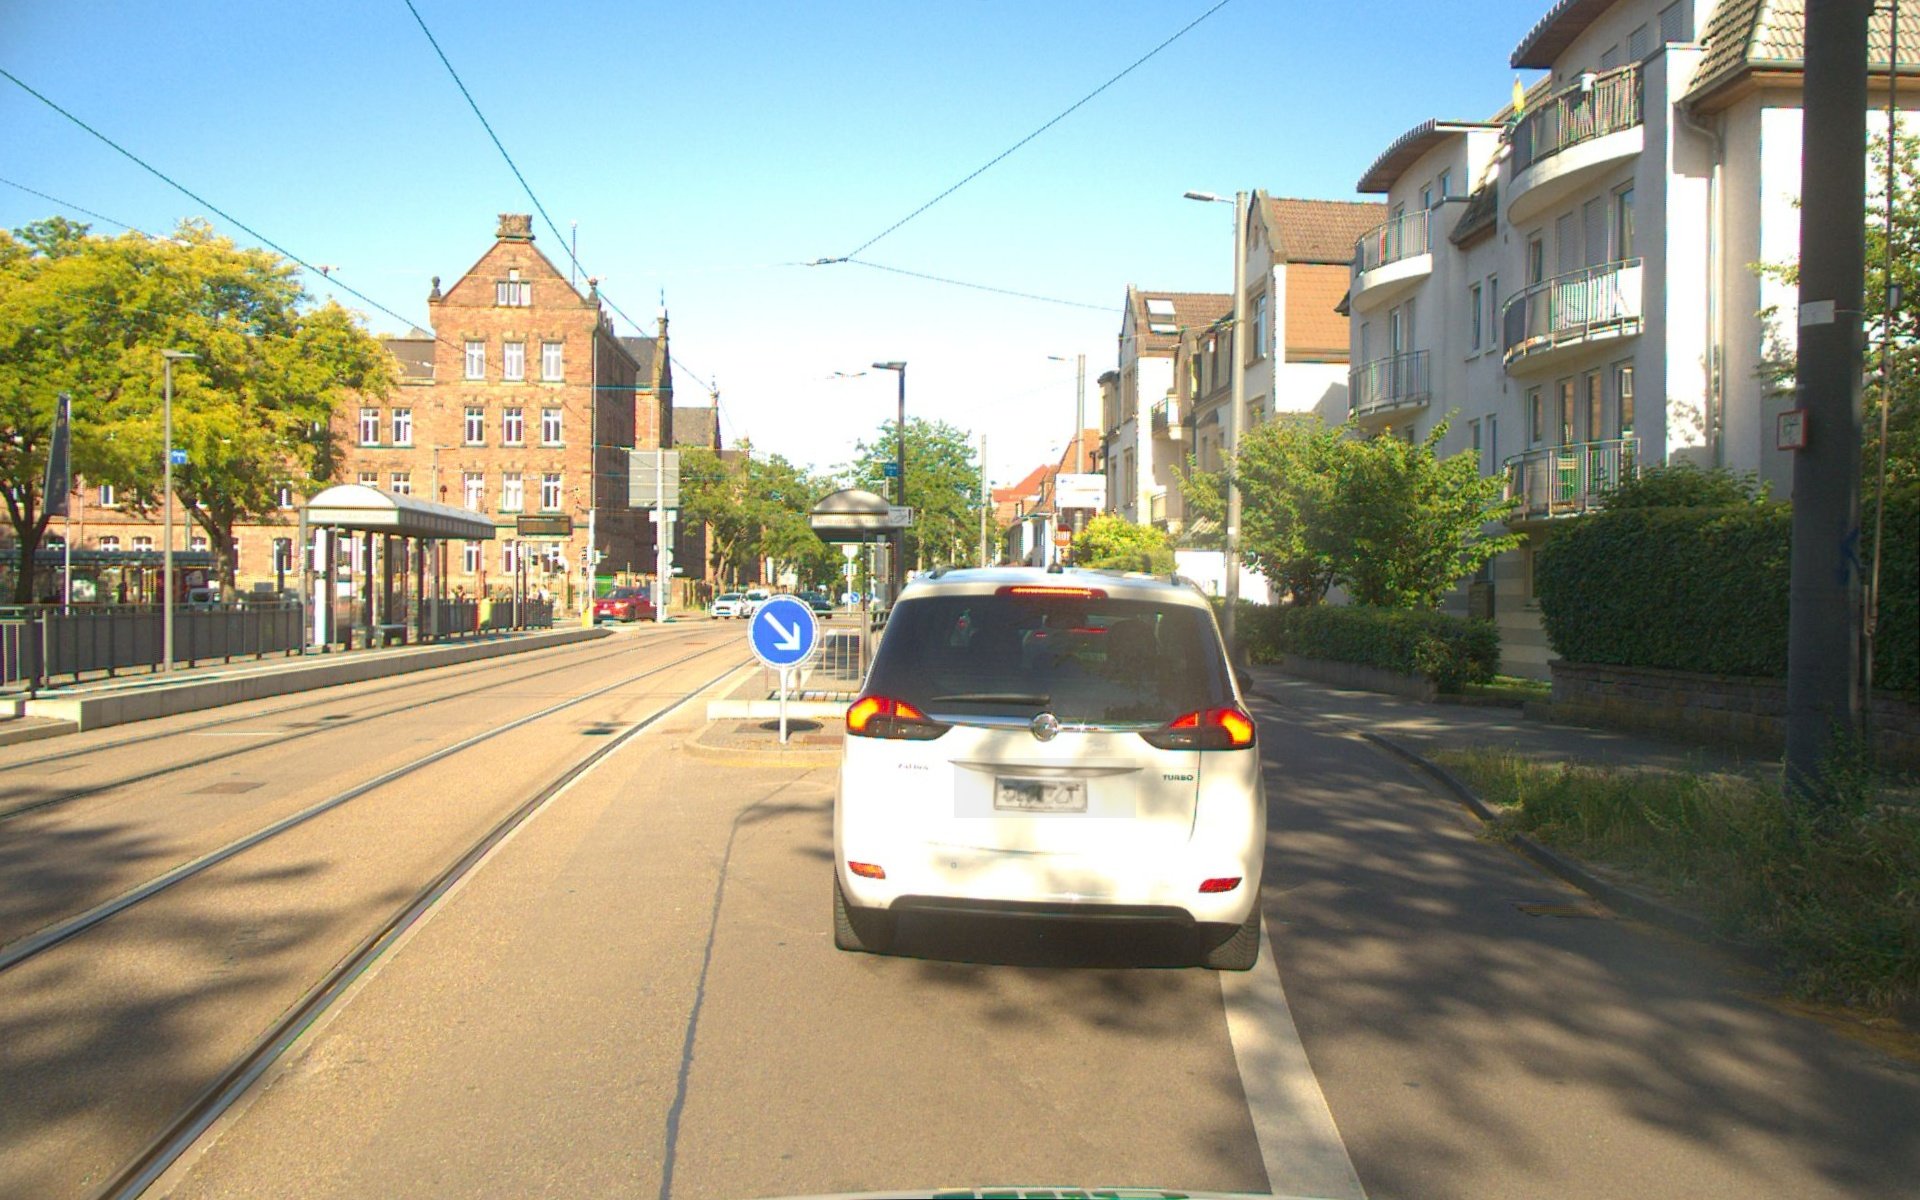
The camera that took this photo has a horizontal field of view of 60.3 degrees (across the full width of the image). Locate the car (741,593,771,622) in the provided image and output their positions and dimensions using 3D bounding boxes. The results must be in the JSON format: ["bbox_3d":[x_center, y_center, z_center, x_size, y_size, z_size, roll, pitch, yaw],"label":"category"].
[{"bbox_3d":[-13.245,0.467,107.588,1.791,1.819,4.251,0,0,-5],"label":"car"}]

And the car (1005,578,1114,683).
[{"bbox_3d":[1.689,0.492,29.183,1.563,1.663,3.900,2,0,-1],"label":"car"}]

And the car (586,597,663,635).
[{"bbox_3d":[-14.701,0.671,72.740,1.779,1.635,4.363,0,0,11],"label":"car"}]

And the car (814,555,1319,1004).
[{"bbox_3d":[0.546,0.642,8.087,1.838,1.613,4.002,1,0,5],"label":"car"}]

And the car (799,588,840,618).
[{"bbox_3d":[-7.941,0.170,93.849,1.953,1.624,4.000,0,0,0],"label":"car"}]

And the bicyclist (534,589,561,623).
[{"bbox_3d":[-18.607,0.281,74.577,0.740,1.496,1.191,0,-1,11],"label":"bicyclist"}]

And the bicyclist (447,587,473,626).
[{"bbox_3d":[-19.392,0.241,64.140,0.639,1.485,1.152,0,0,0],"label":"bicyclist"}]

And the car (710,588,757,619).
[{"bbox_3d":[-13.496,0.200,98.705,1.662,1.841,4.003,0,0,9],"label":"car"}]

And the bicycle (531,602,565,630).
[{"bbox_3d":[-18.593,0.733,74.655,0.798,1.219,1.954,0,-1,9],"label":"bicycle"}]

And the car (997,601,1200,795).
[{"bbox_3d":[1.231,0.764,14.788,1.536,1.426,3.786,2,0,5],"label":"car"}]

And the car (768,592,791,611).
[{"bbox_3d":[-14.778,0.134,135.531,1.791,1.471,4.323,1,-1,-5],"label":"car"}]

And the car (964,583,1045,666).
[{"bbox_3d":[0.928,0.495,36.402,1.563,1.663,3.900,2,0,-1],"label":"car"}]

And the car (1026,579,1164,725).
[{"bbox_3d":[1.718,0.591,21.047,1.536,1.643,3.786,2,0,5],"label":"car"}]

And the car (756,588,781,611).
[{"bbox_3d":[-14.533,-0.005,125.499,1.791,1.645,4.322,1,-1,-6],"label":"car"}]
